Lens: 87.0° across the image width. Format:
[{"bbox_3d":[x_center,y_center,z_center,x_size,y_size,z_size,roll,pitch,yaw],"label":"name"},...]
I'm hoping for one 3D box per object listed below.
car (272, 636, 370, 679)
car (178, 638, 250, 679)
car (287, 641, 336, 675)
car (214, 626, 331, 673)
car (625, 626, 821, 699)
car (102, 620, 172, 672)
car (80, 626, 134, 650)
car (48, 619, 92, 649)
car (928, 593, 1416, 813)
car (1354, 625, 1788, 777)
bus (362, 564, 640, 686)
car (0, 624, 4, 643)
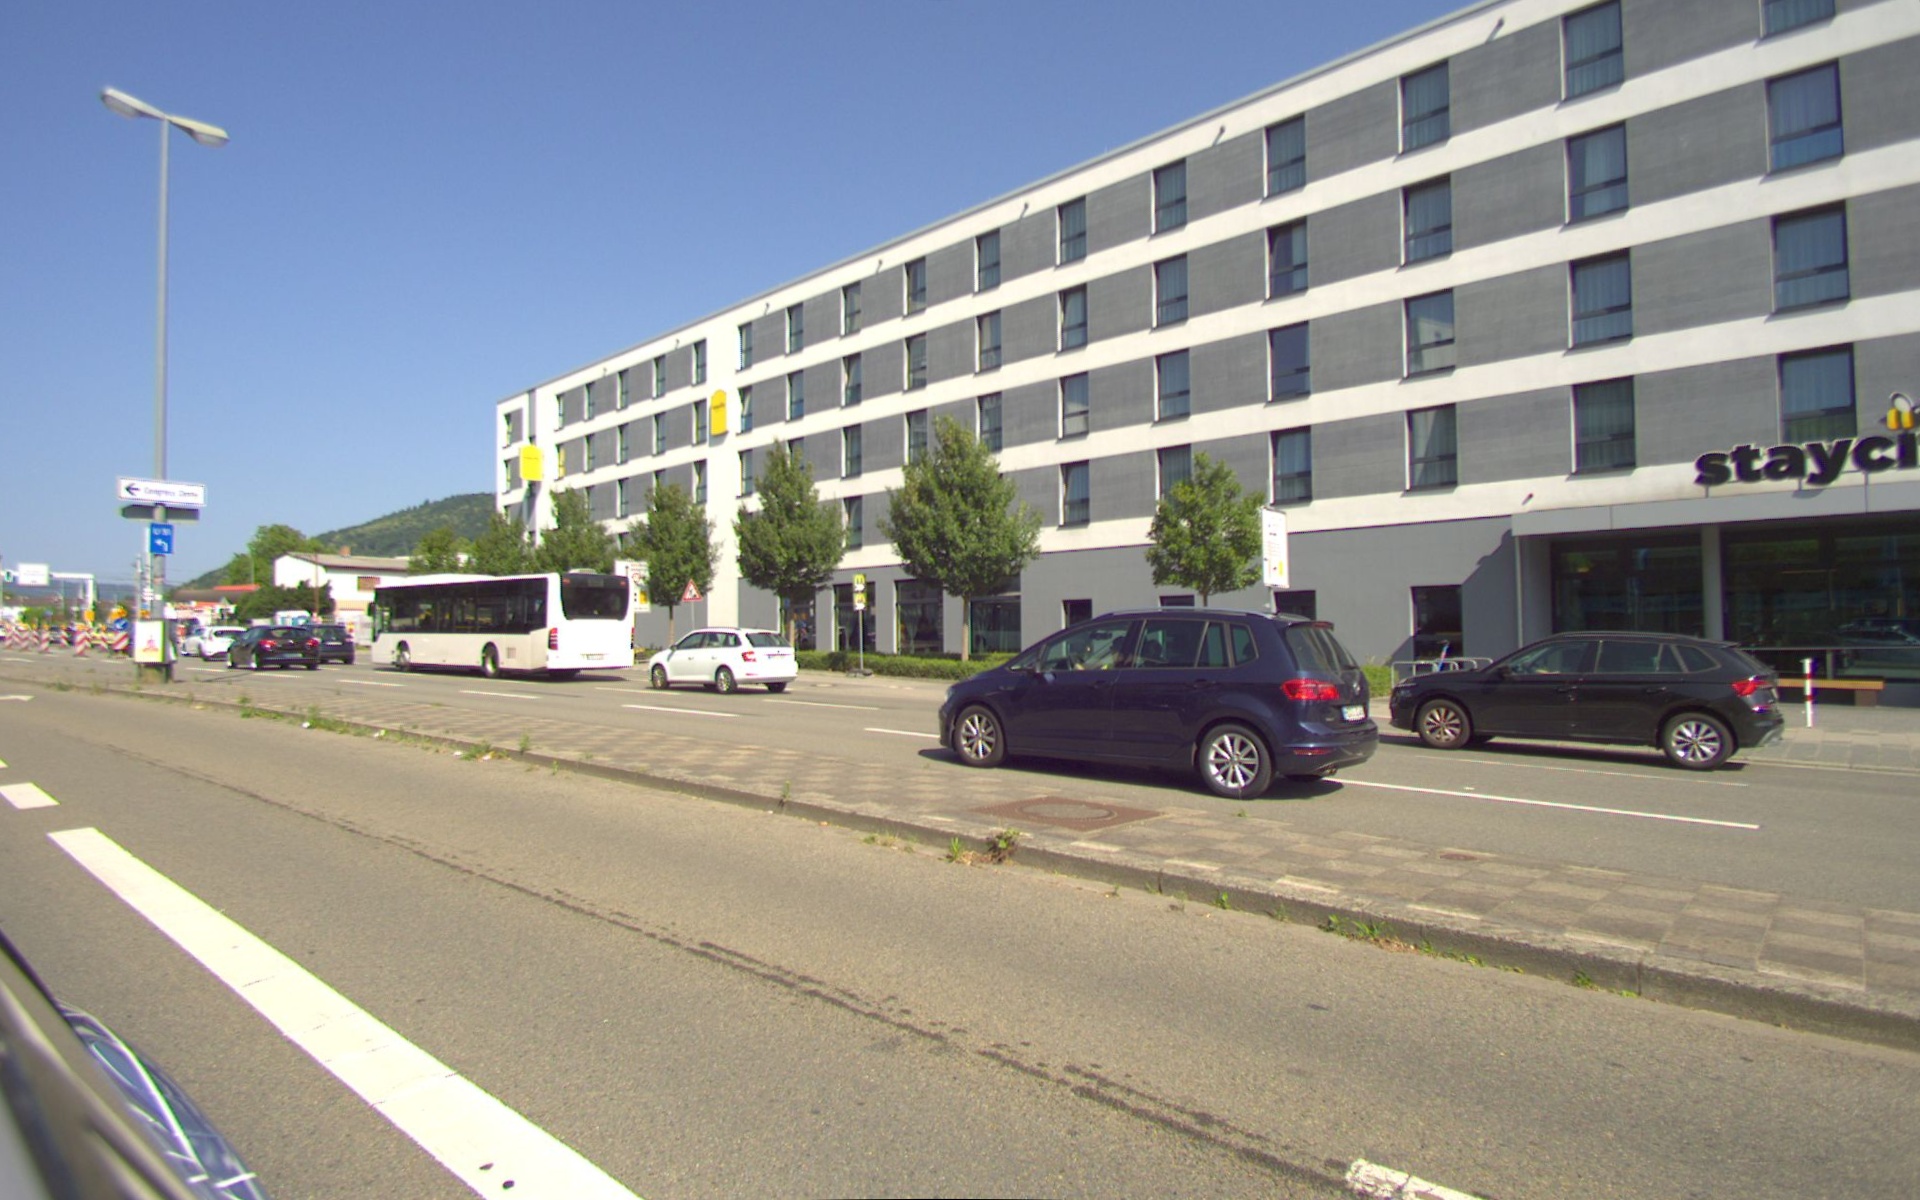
[{"bbox_3d":[-25.500,2.247,40.331,4.888,1.534,1.973,-1,-2,41],"label":"car"},{"bbox_3d":[-31.140,2.394,42.217,4.000,1.462,1.740,0,0,43],"label":"car"},{"bbox_3d":[-25.187,2.232,39.298,2.219,1.216,1.044,0,0,42],"label":"car"},{"bbox_3d":[-22.794,1.588,33.475,4.887,1.443,1.973,-1,-2,40],"label":"car"},{"bbox_3d":[-5.541,1.410,23.477,4.403,1.497,1.976,0,-4,36],"label":"car"},{"bbox_3d":[-35.545,1.936,43.694,4.162,2.029,1.658,0,0,41],"label":"car"},{"bbox_3d":[-56.390,2.479,66.855,4.888,1.534,1.973,-1,-2,41],"label":"car"},{"bbox_3d":[-63.548,2.392,72.273,4.000,2.029,1.972,0,0,43],"label":"car"},{"bbox_3d":[1.861,0.820,9.565,4.130,1.630,1.867,-1,-2,39],"label":"car"},{"bbox_3d":[7.559,1.120,12.787,4.411,1.590,1.972,-1,-3,42],"label":"car"},{"bbox_3d":[-14.261,0.786,30.601,11.966,3.102,2.710,-1,-4,40],"label":"bus"},{"bbox_3d":[-87.217,3.011,90.502,4.888,1.725,1.973,-3,-3,41],"label":"car"}]
